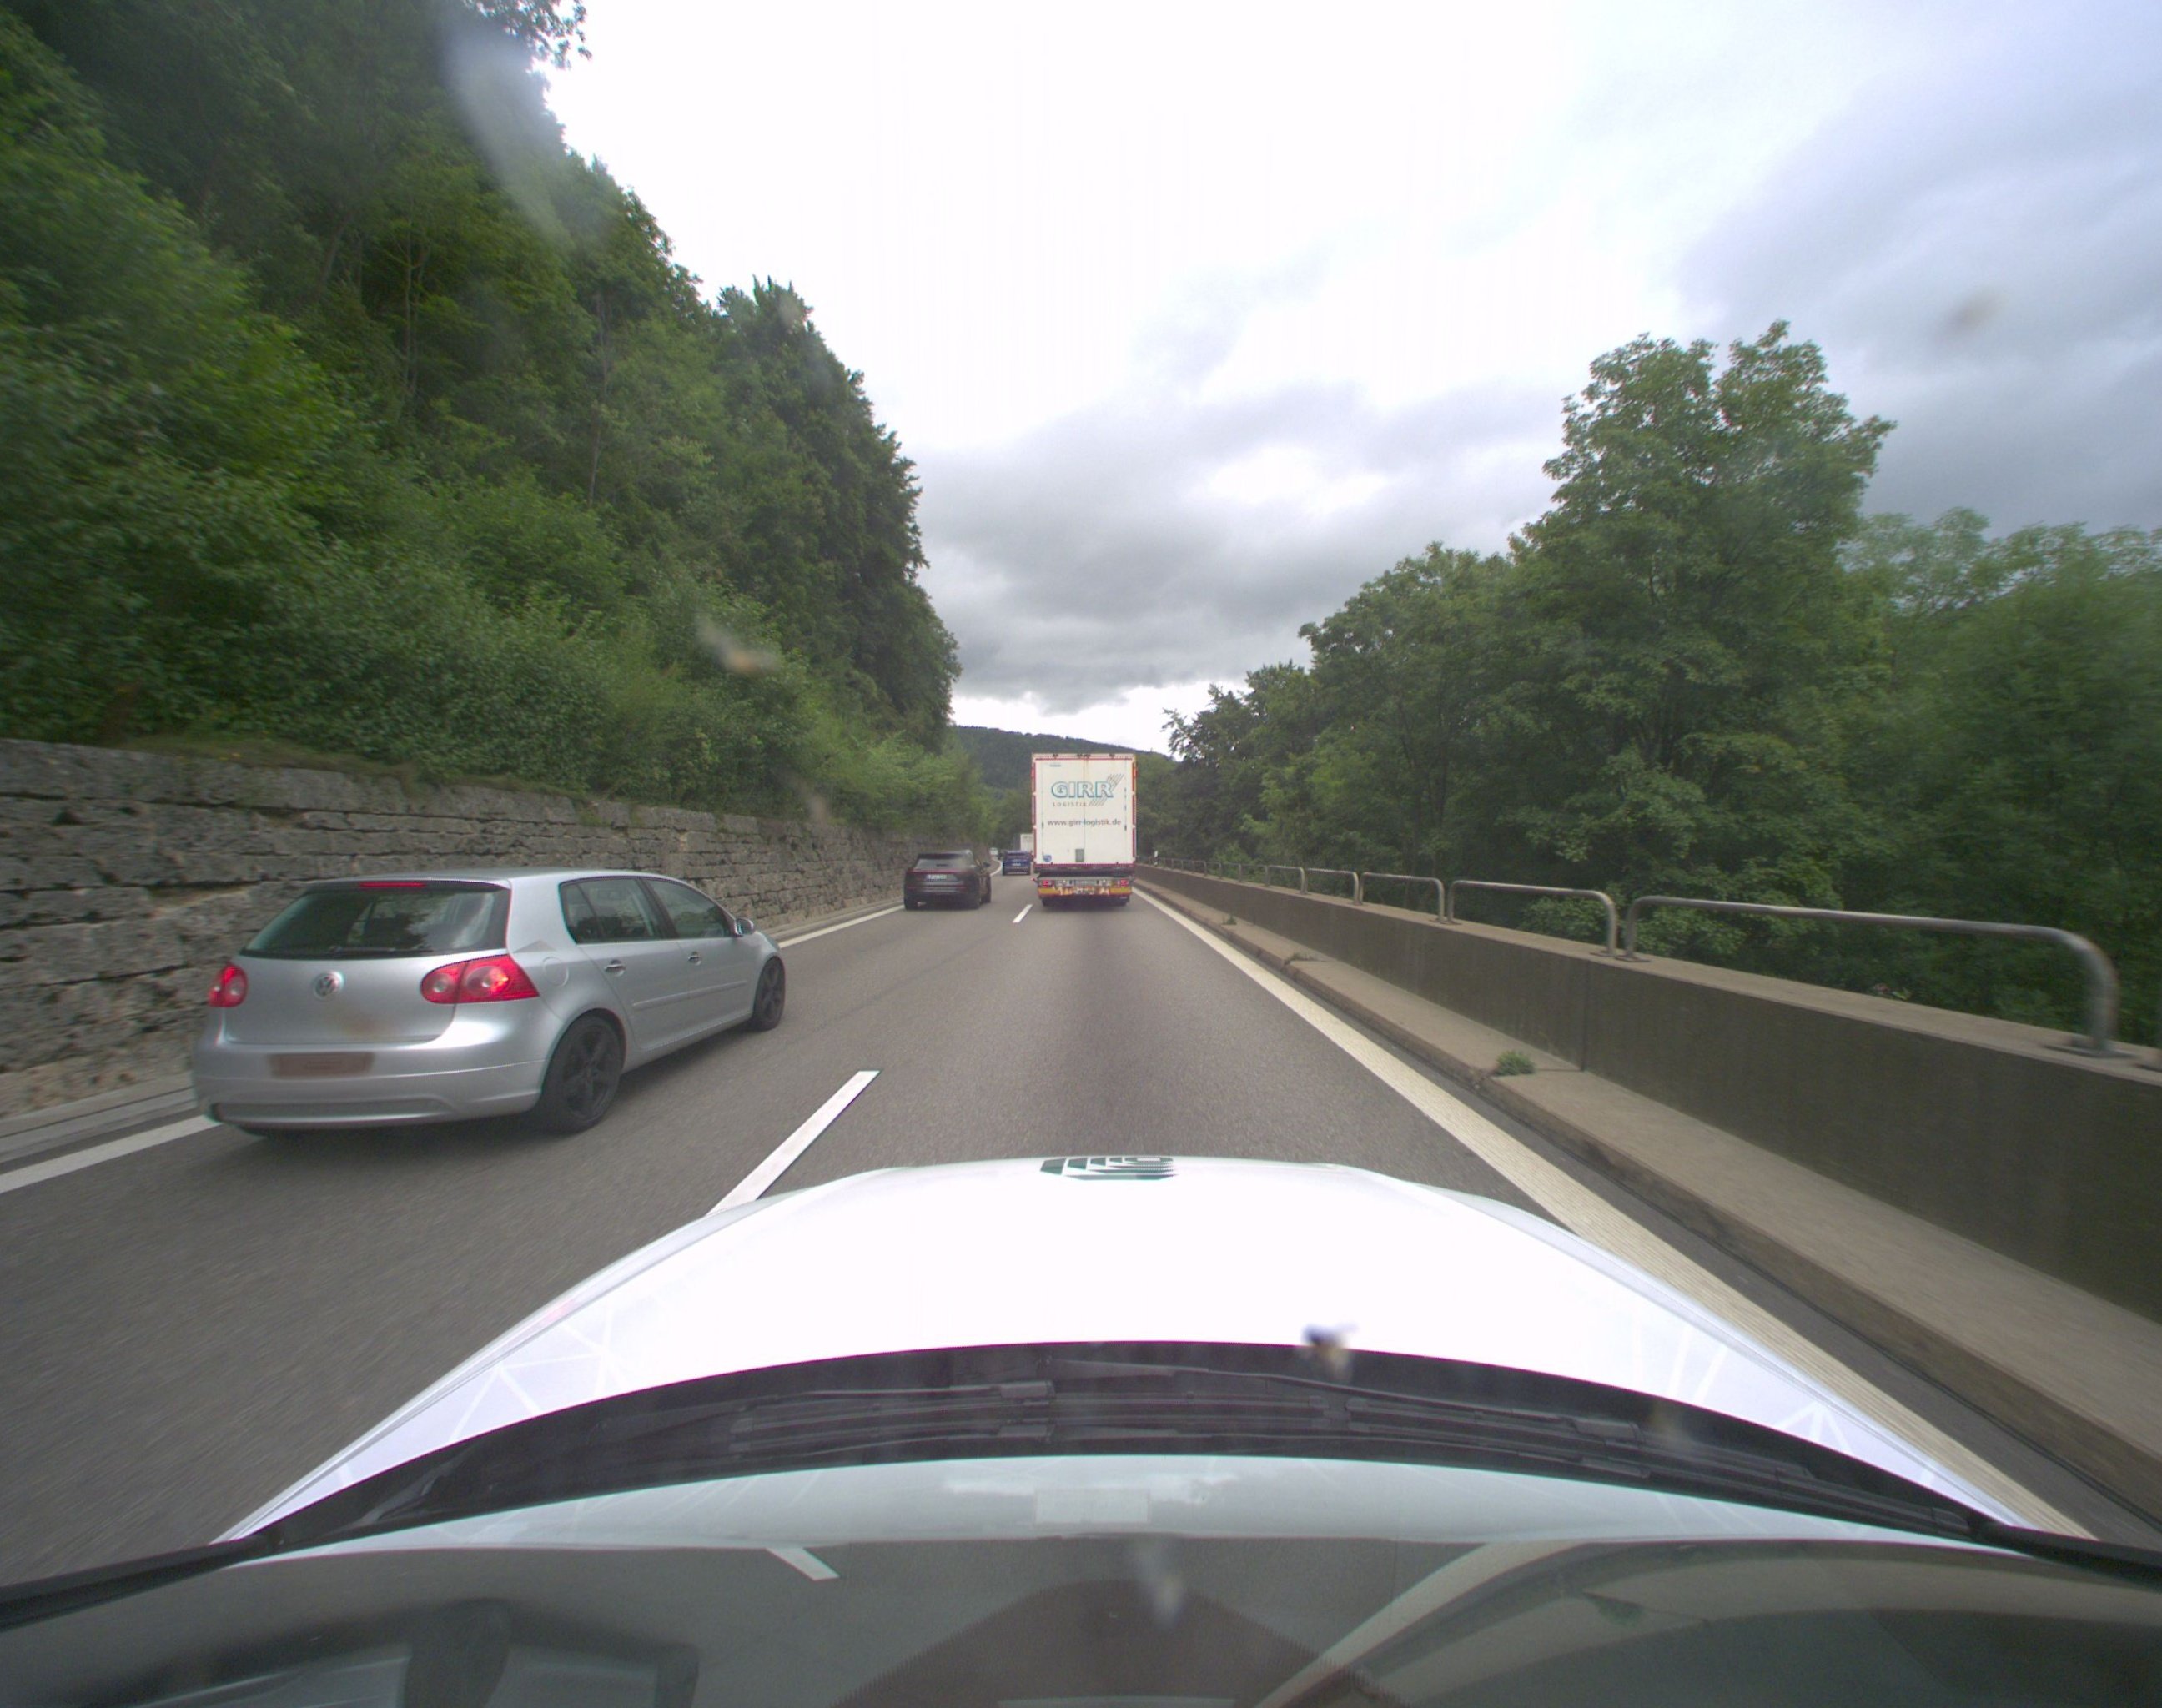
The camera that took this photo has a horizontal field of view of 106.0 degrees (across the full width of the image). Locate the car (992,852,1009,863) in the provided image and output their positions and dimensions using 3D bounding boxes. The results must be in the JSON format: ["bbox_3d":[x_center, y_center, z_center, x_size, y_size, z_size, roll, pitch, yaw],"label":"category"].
[{"bbox_3d":[-12.045,0.492,121.898,1.996,1.596,4.334,-2,1,-13],"label":"car"}]

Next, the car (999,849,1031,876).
[{"bbox_3d":[-4.412,0.505,54.060,1.991,1.632,4.998,-2,1,-6],"label":"car"}]

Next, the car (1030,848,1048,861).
[{"bbox_3d":[-5.587,0.106,108.238,2.059,1.654,3.989,-1,0,-8],"label":"car"}]

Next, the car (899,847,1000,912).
[{"bbox_3d":[-3.592,0.650,23.147,1.987,1.632,5.008,0,0,0],"label":"car"}]

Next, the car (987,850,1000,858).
[{"bbox_3d":[-16.731,-0.007,155.313,1.901,1.550,4.226,0,0,-16],"label":"car"}]

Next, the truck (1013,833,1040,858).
[{"bbox_3d":[-8.838,-1.305,130.333,2.636,3.857,12.310,-1,0,-11],"label":"truck"}]

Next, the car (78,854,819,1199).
[{"bbox_3d":[-3.532,0.787,5.894,1.675,1.515,4.584,0,-1,2],"label":"car"}]

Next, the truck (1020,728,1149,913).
[{"bbox_3d":[0.093,-0.819,27.403,3.074,4.464,15.152,-1,0,0],"label":"truck"}]
